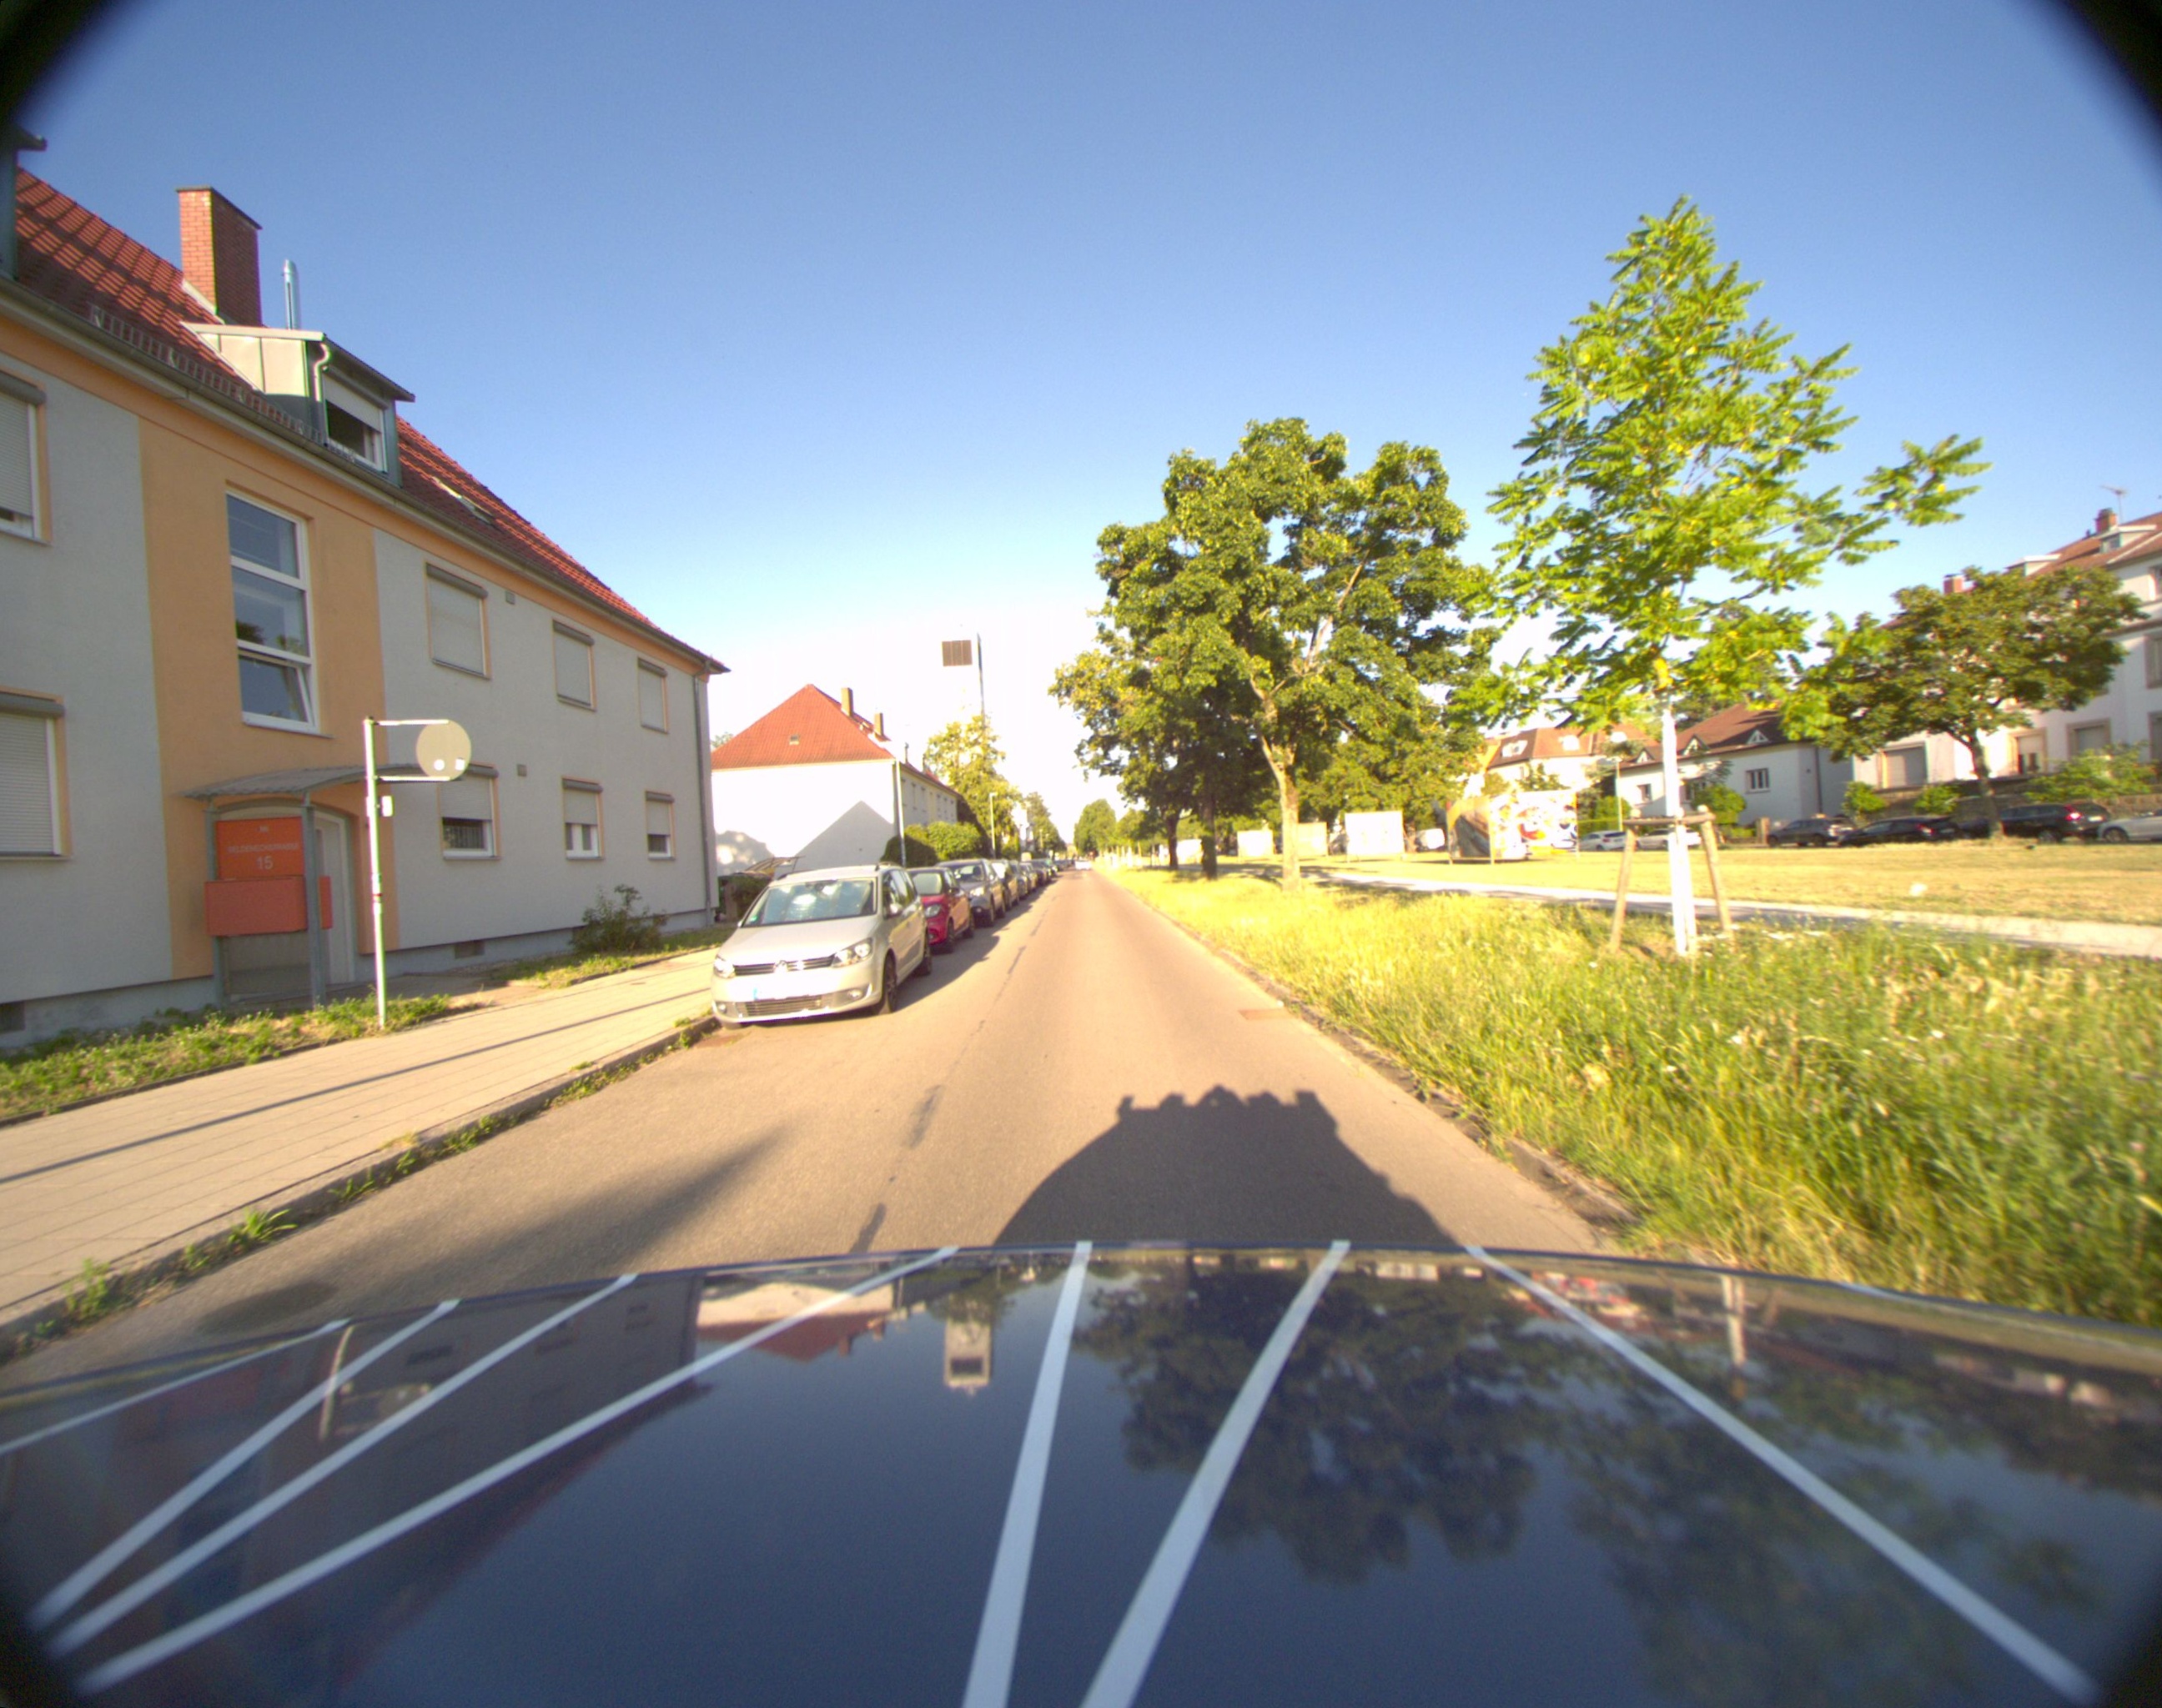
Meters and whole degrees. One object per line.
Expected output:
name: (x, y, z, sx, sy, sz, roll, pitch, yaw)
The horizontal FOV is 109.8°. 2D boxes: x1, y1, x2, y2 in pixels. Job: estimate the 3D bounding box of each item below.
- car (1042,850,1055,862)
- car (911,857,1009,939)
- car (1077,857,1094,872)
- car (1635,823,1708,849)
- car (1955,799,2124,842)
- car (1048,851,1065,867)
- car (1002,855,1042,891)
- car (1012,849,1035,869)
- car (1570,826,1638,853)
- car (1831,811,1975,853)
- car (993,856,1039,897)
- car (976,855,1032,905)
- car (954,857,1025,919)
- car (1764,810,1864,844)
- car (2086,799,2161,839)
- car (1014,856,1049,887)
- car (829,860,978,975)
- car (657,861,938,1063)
car: (-5.083, 0.264, 117.757, 1.850, 1.686, 3.999, -5, 0, -2)
car: (-2.940, 1.002, 19.324, 1.850, 1.686, 3.999, -5, 0, -2)
car: (0.579, 1.308, 97.606, 1.870, 1.686, 4.299, -5, 0, -2)
car: (40.000, -1.181, 51.618, 1.825, 1.571, 3.967, -3, 0, 0)
car: (40.145, -1.349, 32.010, 1.825, 1.571, 4.162, -3, 0, 0)
car: (-2.986, 0.614, 91.709, 1.850, 1.686, 3.999, -5, 0, -2)
car: (-3.173, 1.009, 41.479, 1.850, 1.686, 3.999, -5, 0, -2)
car: (-5.451, 0.440, 72.186, 1.850, 1.686, 3.999, -5, 0, -2)
car: (34.345, -0.935, 50.011, 1.825, 1.571, 3.836, -3, 0, 0)
car: (34.365, -0.879, 31.928, 1.825, 1.571, 3.836, -3, 0, 0)
car: (-3.051, 1.003, 36.235, 1.850, 1.686, 3.999, -5, 0, -2)
car: (-3.057, 0.991, 30.745, 1.850, 1.686, 3.999, -5, 0, -2)
car: (-2.934, 1.044, 25.163, 1.850, 1.686, 3.999, -5, 0, -2)
car: (39.851, -1.441, 41.451, 1.642, 1.652, 4.000, -3, 0, 2)
car: (40.017, -1.310, 27.610, 1.641, 1.437, 4.008, -2, 0, -1)
car: (-2.991, 1.026, 46.398, 1.850, 1.686, 3.999, -5, 0, -2)
car: (-3.167, 1.050, 14.404, 1.850, 1.686, 3.999, -5, 0, -2)
car: (-3.037, 1.031, 9.147, 1.850, 1.686, 3.999, -5, 0, -2)
